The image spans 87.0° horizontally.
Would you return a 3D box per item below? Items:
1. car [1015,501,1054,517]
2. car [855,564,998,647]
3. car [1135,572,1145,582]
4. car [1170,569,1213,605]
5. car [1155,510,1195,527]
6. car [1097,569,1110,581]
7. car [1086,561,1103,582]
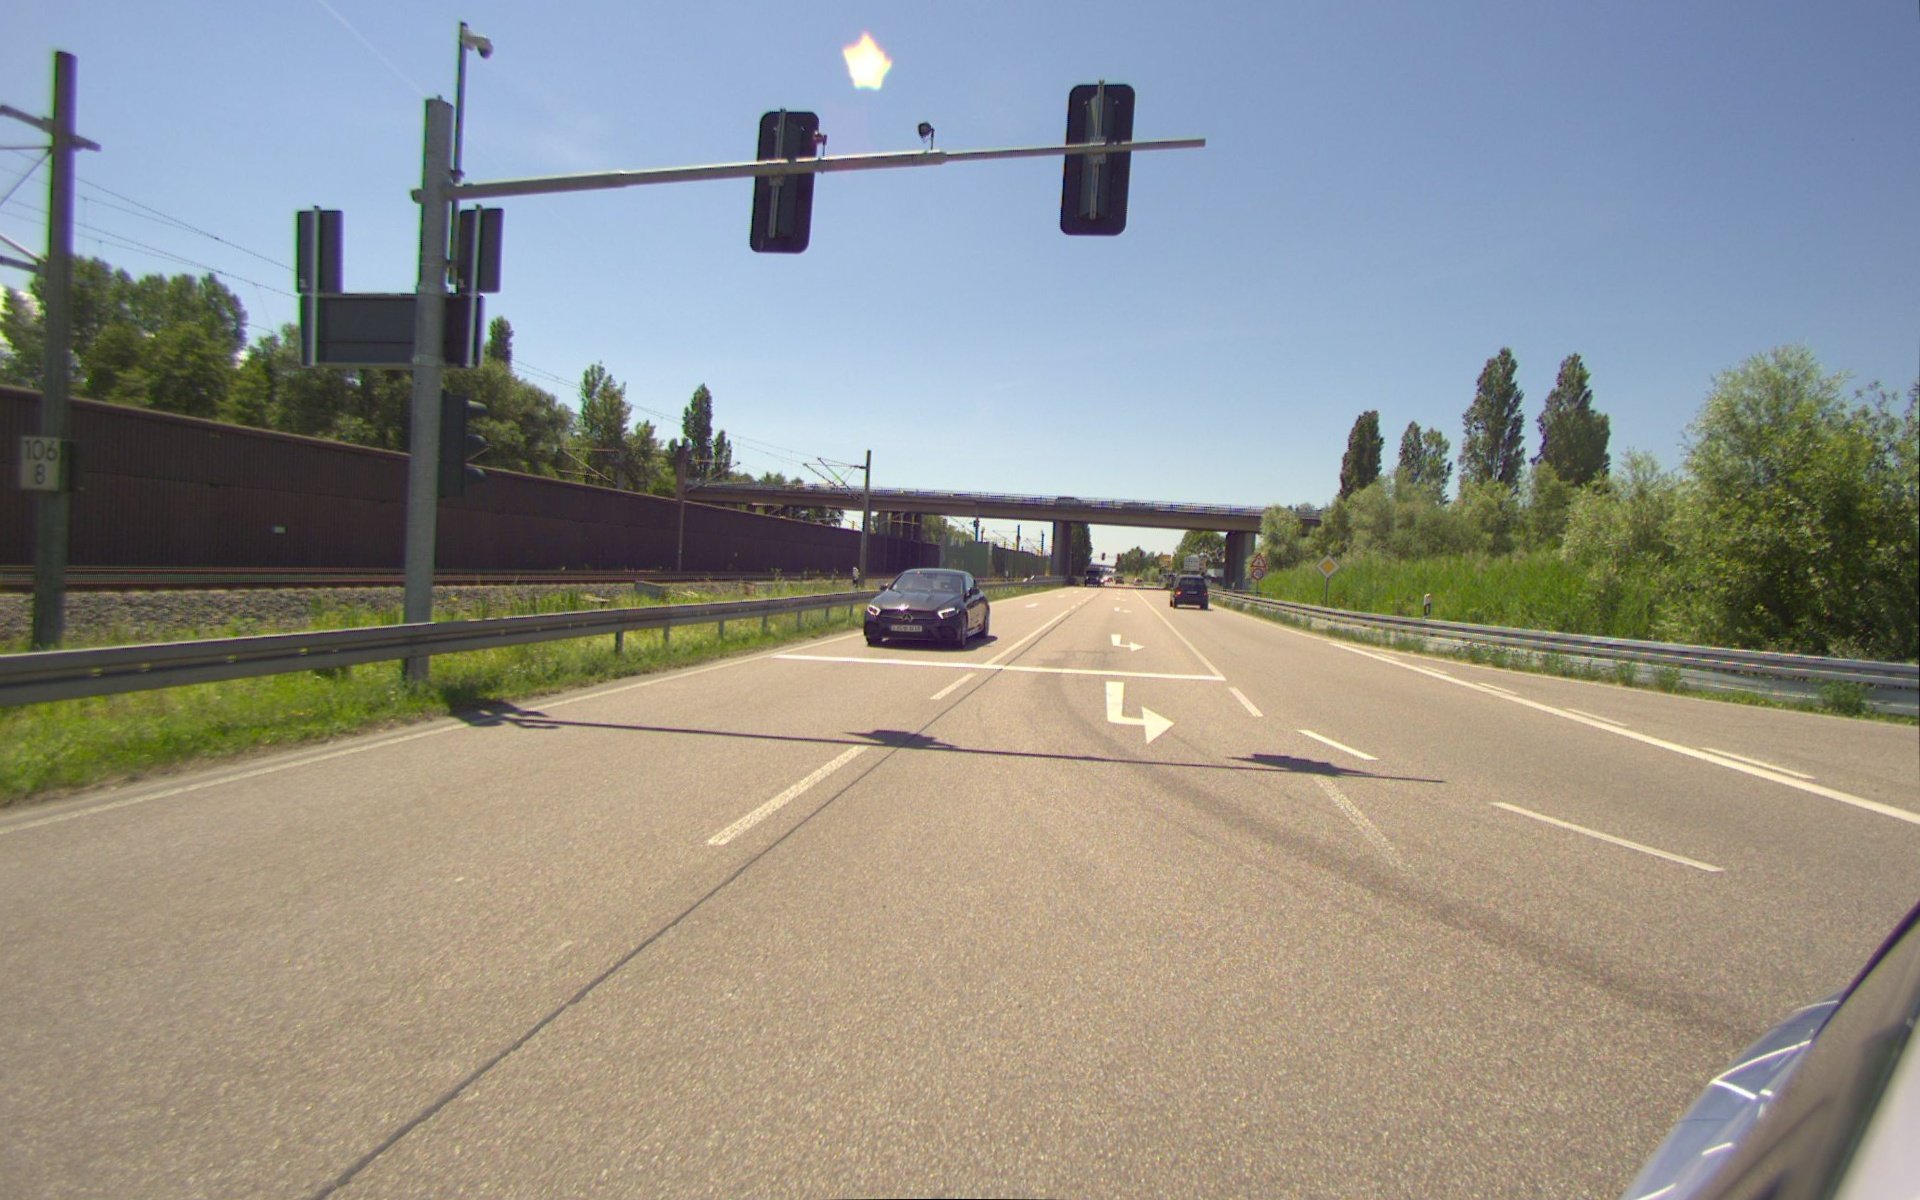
[{"bbox_3d":[9.407,-11.520,127.743,4.580,1.812,1.905,2,1,14],"label":"car"},{"bbox_3d":[-0.515,0.036,19.986,1.882,1.381,4.635,2,2,10],"label":"car"},{"bbox_3d":[30.934,-3.929,174.024,1.565,1.581,3.677,2,2,10],"label":"car"},{"bbox_3d":[11.109,-0.643,48.689,1.616,1.616,3.554,3,2,8],"label":"car"},{"bbox_3d":[26.317,-9.976,123.910,4.582,1.812,1.904,2,2,15],"label":"car"},{"bbox_3d":[22.484,-3.903,158.154,1.814,1.711,3.990,3,2,10],"label":"car"},{"bbox_3d":[16.969,-3.585,127.899,1.882,2.472,4.635,2,2,10],"label":"car"}]
